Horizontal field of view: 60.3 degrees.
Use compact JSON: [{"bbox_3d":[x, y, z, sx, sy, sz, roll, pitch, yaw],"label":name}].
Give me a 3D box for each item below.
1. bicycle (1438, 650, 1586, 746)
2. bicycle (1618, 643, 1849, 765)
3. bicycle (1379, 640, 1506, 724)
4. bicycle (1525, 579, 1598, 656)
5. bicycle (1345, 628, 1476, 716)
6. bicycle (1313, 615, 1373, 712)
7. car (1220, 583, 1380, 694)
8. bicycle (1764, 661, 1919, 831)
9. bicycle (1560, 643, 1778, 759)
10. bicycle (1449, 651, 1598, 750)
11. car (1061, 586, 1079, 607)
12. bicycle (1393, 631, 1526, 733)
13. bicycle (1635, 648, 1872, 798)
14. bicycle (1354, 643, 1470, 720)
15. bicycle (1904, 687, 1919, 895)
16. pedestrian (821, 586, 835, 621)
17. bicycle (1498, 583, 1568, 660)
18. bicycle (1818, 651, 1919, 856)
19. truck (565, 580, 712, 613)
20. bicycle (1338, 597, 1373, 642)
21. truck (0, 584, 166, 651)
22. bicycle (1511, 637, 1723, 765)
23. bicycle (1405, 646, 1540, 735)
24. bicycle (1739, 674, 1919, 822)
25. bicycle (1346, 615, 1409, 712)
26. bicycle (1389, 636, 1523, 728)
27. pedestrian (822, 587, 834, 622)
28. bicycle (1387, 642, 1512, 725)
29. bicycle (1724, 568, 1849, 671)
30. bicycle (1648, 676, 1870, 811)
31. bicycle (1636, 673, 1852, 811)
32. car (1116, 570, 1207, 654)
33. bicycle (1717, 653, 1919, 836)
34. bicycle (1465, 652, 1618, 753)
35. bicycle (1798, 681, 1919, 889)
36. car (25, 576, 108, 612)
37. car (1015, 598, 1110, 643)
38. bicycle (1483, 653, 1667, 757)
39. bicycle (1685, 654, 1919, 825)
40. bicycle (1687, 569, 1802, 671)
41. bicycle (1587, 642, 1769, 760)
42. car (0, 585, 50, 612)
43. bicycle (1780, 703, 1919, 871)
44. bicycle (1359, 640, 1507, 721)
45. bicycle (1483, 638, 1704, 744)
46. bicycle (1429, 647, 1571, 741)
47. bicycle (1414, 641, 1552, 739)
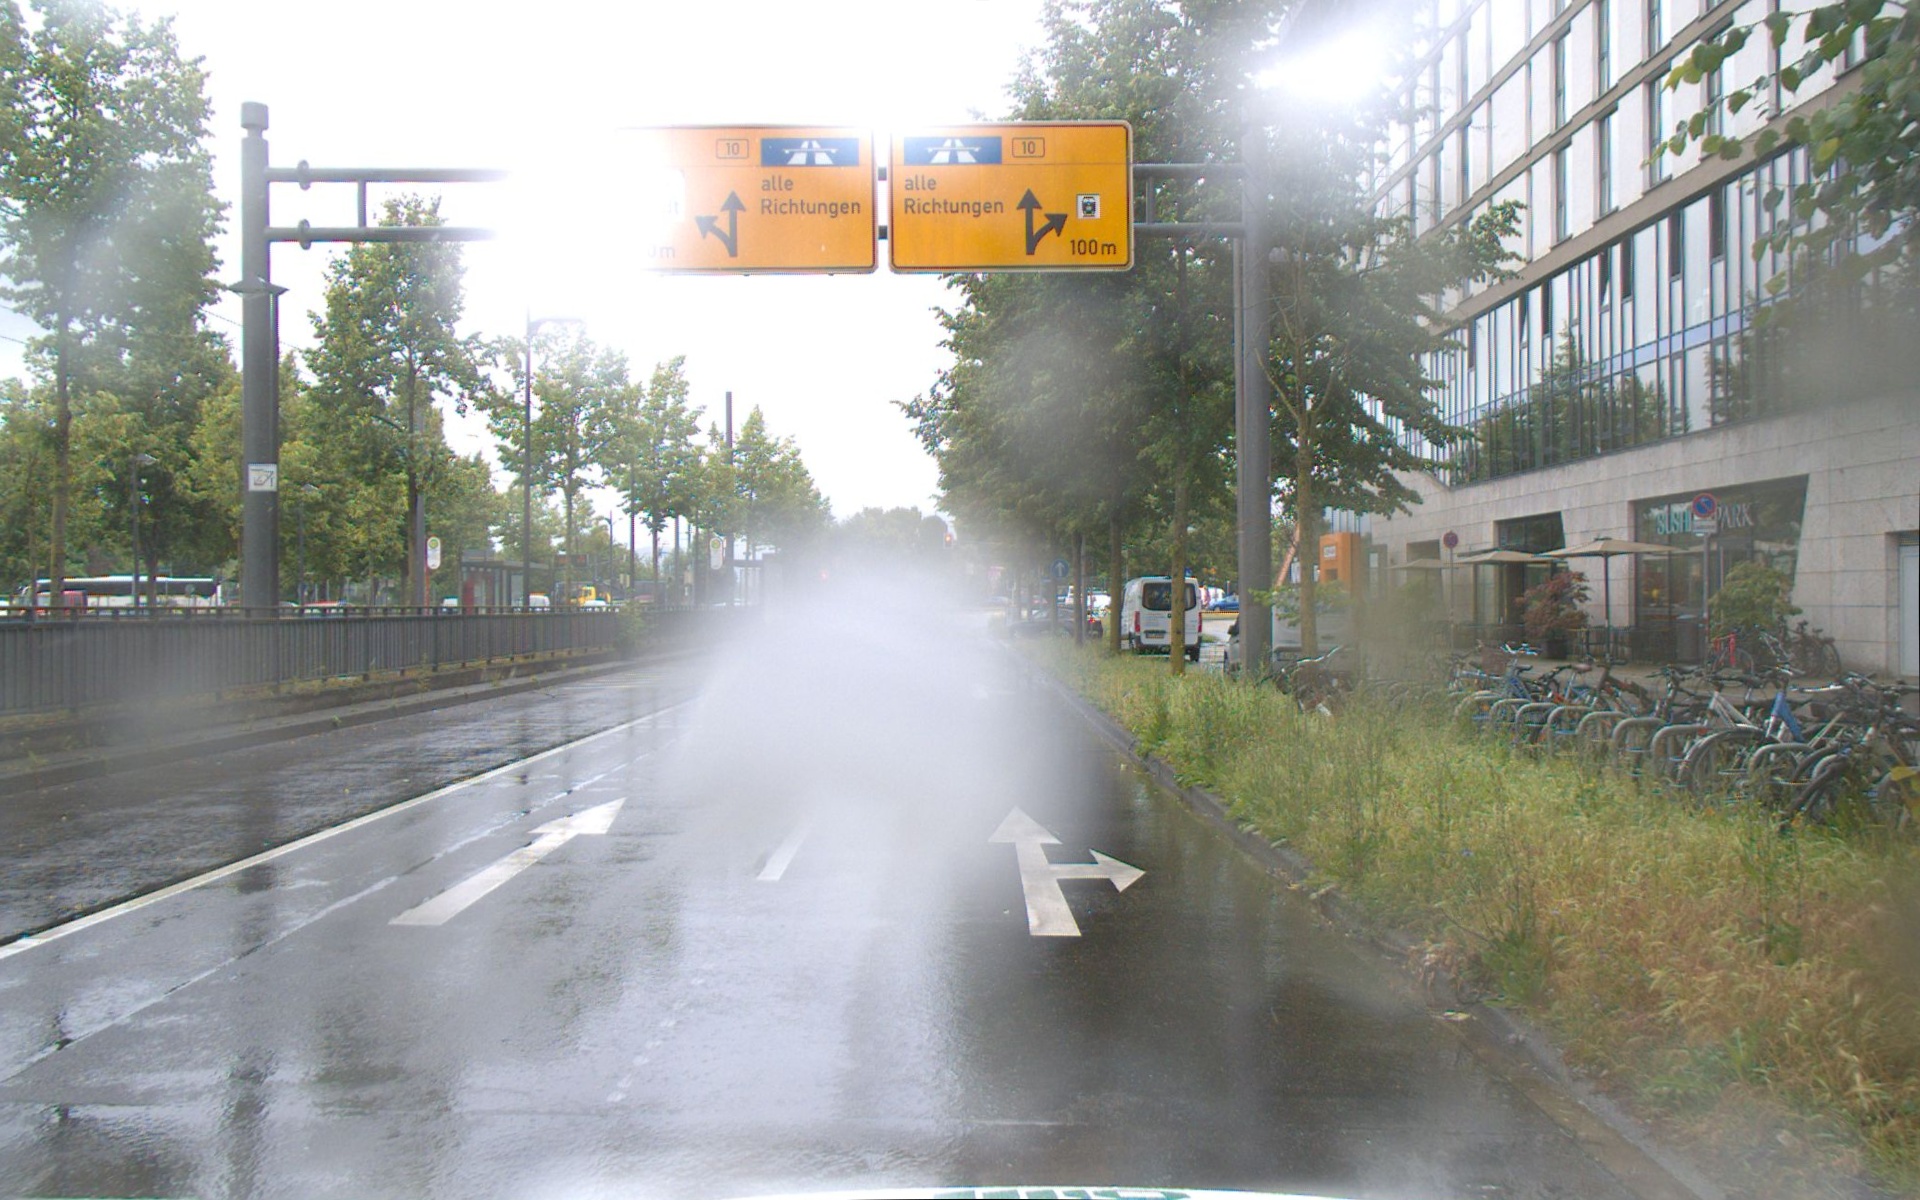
[{"bbox_3d":[5.154,0.908,15.471,1.262,0.864,0.355,-1,0,-1],"label":"bicycle"},{"bbox_3d":[5.711,0.762,12.231,1.582,0.864,0.275,1,-1,-1],"label":"bicycle"},{"bbox_3d":[5.098,0.861,17.501,1.262,0.864,0.275,-1,0,-1],"label":"bicycle"},{"bbox_3d":[14.904,0.390,41.071,0.631,1.752,3.120,0,2,-1],"label":"bicycle"},{"bbox_3d":[5.243,0.837,19.256,1.430,0.997,0.311,-1,0,-1],"label":"bicycle"},{"bbox_3d":[3.612,0.581,15.653,0.269,0.864,1.292,-1,0,0],"label":"bicycle"},{"bbox_3d":[5.979,0.636,29.635,1.867,1.822,4.687,0,0,0],"label":"car"},{"bbox_3d":[5.617,0.857,9.759,1.673,0.964,0.313,1,-1,-7],"label":"bicycle"},{"bbox_3d":[5.516,0.779,12.881,1.582,0.864,0.275,1,-1,-1],"label":"bicycle"},{"bbox_3d":[5.139,0.911,15.091,1.262,0.864,0.275,-1,0,-1],"label":"bicycle"},{"bbox_3d":[9.544,-0.337,143.606,1.589,1.729,3.458,0,2,3],"label":"car"},{"bbox_3d":[5.074,0.825,16.809,1.262,1.006,0.275,-1,0,-1],"label":"bicycle"},{"bbox_3d":[5.715,0.881,11.924,1.582,1.040,0.275,1,-1,-1],"label":"bicycle"},{"bbox_3d":[5.160,0.930,18.898,1.262,0.864,0.275,0,0,-1],"label":"bicycle"},{"bbox_3d":[5.515,0.960,8.223,1.408,1.035,0.349,0,0,4],"label":"bicycle"},{"bbox_3d":[-7.895,0.211,98.971,0.683,2.048,0.656,0,2,6],"label":"pedestrian"},{"bbox_3d":[14.170,0.490,41.003,0.631,1.752,3.120,0,2,-1],"label":"bicycle"},{"bbox_3d":[5.766,0.855,9.432,1.673,1.122,0.283,-1,0,-7],"label":"bicycle"},{"bbox_3d":[-32.144,-0.300,166.160,14.770,3.202,3.471,1,0,-41],"label":"truck"},{"bbox_3d":[14.944,0.729,62.551,0.652,1.561,2.765,0,2,0],"label":"bicycle"},{"bbox_3d":[-67.761,1.267,126.780,12.305,4.672,3.373,-2,2,-27],"label":"truck"},{"bbox_3d":[5.373,0.821,13.544,1.609,1.006,0.320,-1,0,-1],"label":"bicycle"},{"bbox_3d":[5.109,0.899,16.503,1.262,0.864,0.275,-1,0,-1],"label":"bicycle"},{"bbox_3d":[5.659,0.894,10.125,1.672,0.864,0.313,0,0,-4],"label":"bicycle"},{"bbox_3d":[3.939,0.580,15.661,0.269,0.864,1.292,-1,0,0],"label":"bicycle"},{"bbox_3d":[5.132,0.848,17.120,1.298,0.926,0.275,-1,0,-1],"label":"bicycle"},{"bbox_3d":[-7.953,0.272,99.879,0.684,2.048,0.655,0,2,-3],"label":"pedestrian"},{"bbox_3d":[5.272,0.891,17.829,1.262,0.864,0.275,-1,0,-1],"label":"bicycle"},{"bbox_3d":[15.421,0.318,30.979,0.756,1.752,3.120,0,2,-1],"label":"bicycle"},{"bbox_3d":[5.376,0.960,11.142,1.377,0.864,0.275,-1,0,-3],"label":"bicycle"},{"bbox_3d":[5.434,0.979,11.483,1.382,0.913,0.275,-1,0,-3],"label":"bicycle"},{"bbox_3d":[5.818,0.335,48.233,2.078,2.314,4.564,0,0,0],"label":"car"},{"bbox_3d":[5.652,0.903,10.492,1.580,1.116,0.296,-1,0,-3],"label":"bicycle"},{"bbox_3d":[5.188,0.911,14.770,1.262,0.864,0.275,-1,0,-1],"label":"bicycle"},{"bbox_3d":[5.184,0.949,8.656,1.423,1.035,0.348,-1,0,-3],"label":"bicycle"},{"bbox_3d":[-51.339,-0.320,95.088,1.951,2.049,4.003,0,0,15],"label":"car"},{"bbox_3d":[3.993,0.787,65.118,1.798,1.572,3.956,-2,3,-32],"label":"car"},{"bbox_3d":[5.358,0.910,14.426,1.491,0.864,0.277,-1,0,-1],"label":"bicycle"},{"bbox_3d":[5.598,0.904,10.829,1.580,1.072,0.296,-1,0,-3],"label":"bicycle"},{"bbox_3d":[14.653,0.322,30.998,0.631,1.752,3.120,0,2,-1],"label":"bicycle"},{"bbox_3d":[5.455,0.765,12.585,1.262,0.864,0.275,-1,0,-1],"label":"bicycle"},{"bbox_3d":[-64.239,-0.115,112.961,3.485,1.769,1.693,-1,2,-24],"label":"car"},{"bbox_3d":[5.142,1.002,9.002,1.263,0.864,0.275,-1,0,-6],"label":"bicycle"},{"bbox_3d":[5.282,0.897,18.501,1.562,0.864,0.311,-1,0,-1],"label":"bicycle"},{"bbox_3d":[5.386,0.769,14.093,1.780,0.864,0.275,-1,0,-1],"label":"bicycle"},{"bbox_3d":[5.163,0.895,15.823,1.262,0.864,0.275,-1,0,-1],"label":"bicycle"},{"bbox_3d":[5.103,0.876,16.154,1.262,0.935,0.275,-1,0,-1],"label":"bicycle"}]
